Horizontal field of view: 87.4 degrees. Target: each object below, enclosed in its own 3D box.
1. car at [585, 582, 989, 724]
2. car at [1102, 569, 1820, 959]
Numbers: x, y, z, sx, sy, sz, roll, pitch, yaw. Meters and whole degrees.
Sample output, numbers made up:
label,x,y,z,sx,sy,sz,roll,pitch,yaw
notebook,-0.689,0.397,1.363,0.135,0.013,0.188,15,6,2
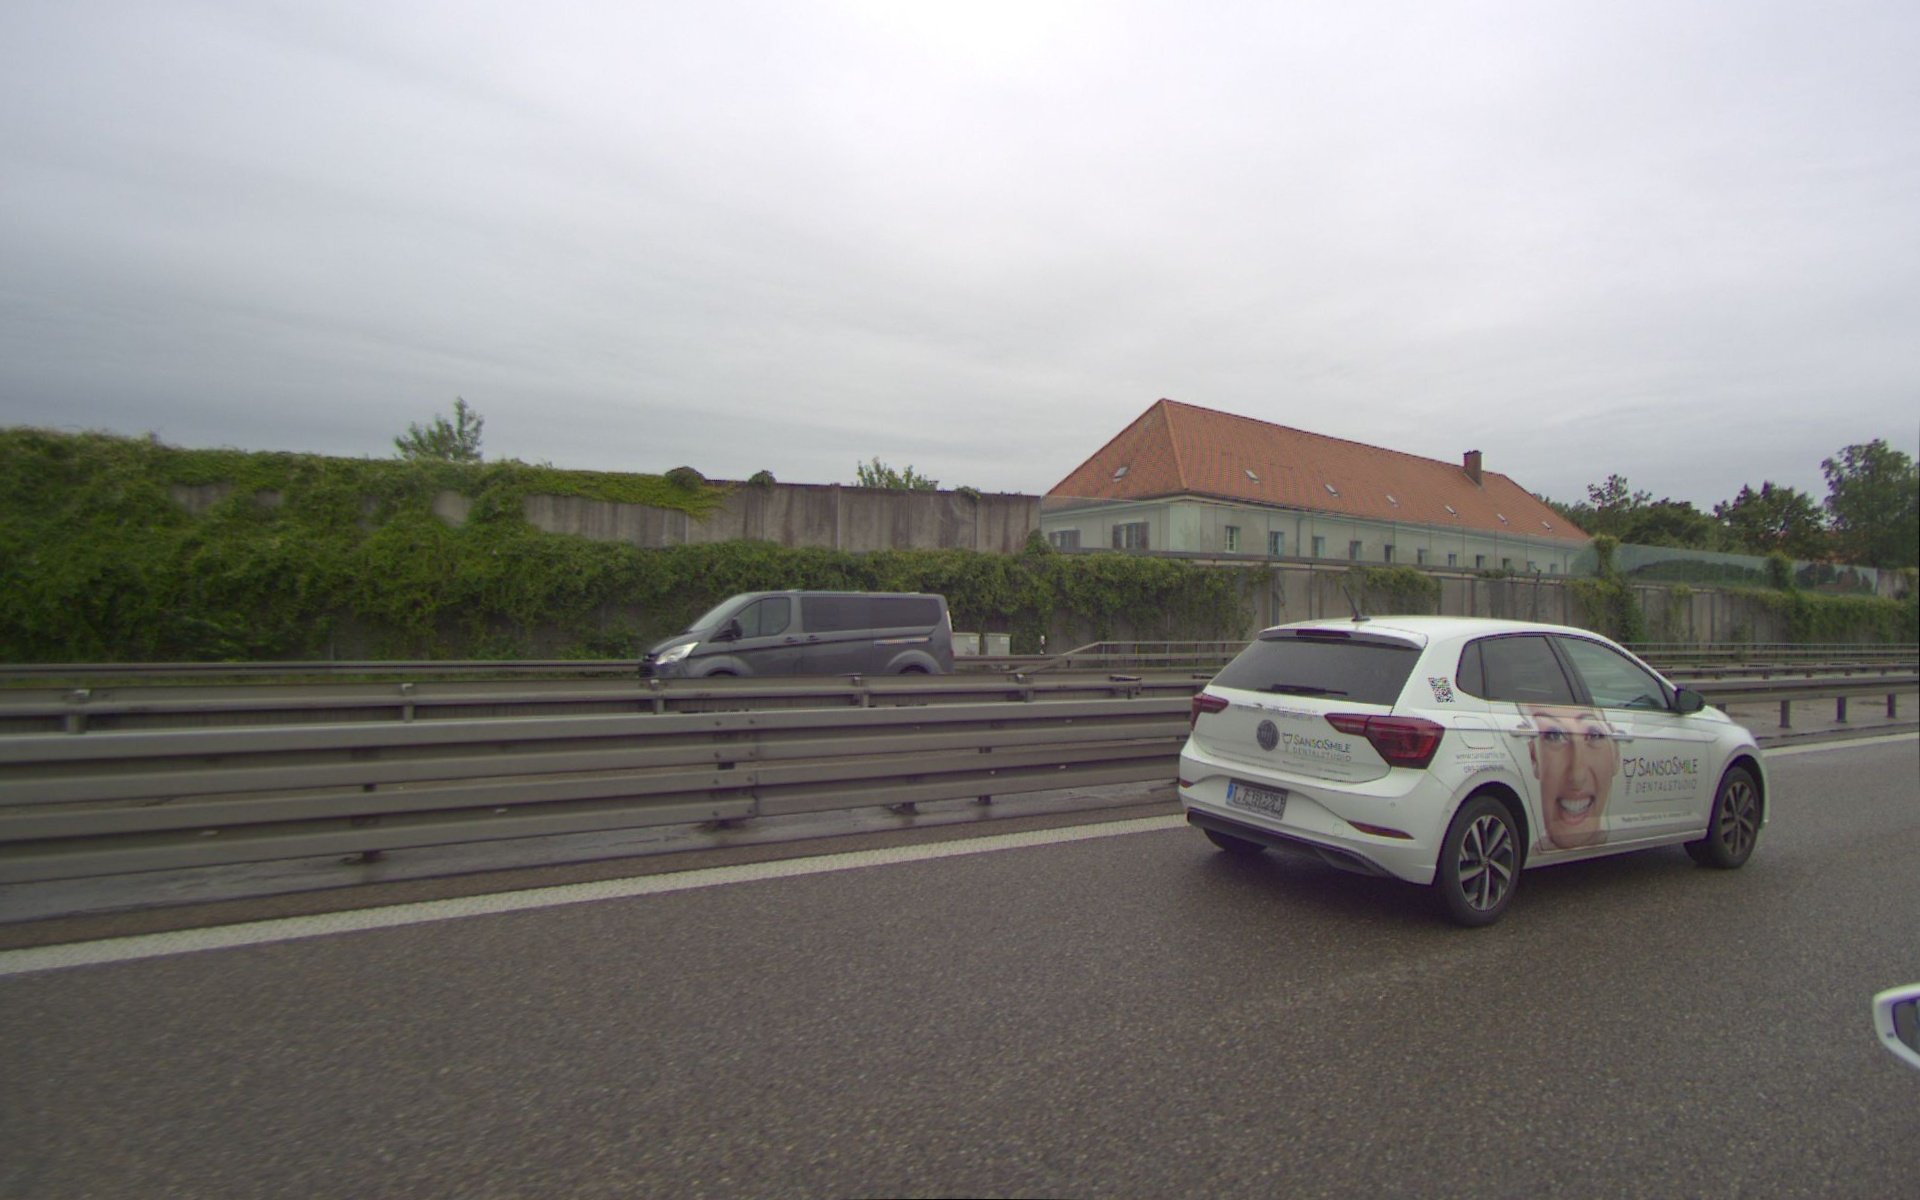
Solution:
label,x,y,z,sx,sy,sz,roll,pitch,yaw
car,-2.745,0.813,16.650,6.197,1.998,2.198,2,0,-30
car,3.231,0.744,6.167,4.610,1.639,1.744,1,-1,-31
